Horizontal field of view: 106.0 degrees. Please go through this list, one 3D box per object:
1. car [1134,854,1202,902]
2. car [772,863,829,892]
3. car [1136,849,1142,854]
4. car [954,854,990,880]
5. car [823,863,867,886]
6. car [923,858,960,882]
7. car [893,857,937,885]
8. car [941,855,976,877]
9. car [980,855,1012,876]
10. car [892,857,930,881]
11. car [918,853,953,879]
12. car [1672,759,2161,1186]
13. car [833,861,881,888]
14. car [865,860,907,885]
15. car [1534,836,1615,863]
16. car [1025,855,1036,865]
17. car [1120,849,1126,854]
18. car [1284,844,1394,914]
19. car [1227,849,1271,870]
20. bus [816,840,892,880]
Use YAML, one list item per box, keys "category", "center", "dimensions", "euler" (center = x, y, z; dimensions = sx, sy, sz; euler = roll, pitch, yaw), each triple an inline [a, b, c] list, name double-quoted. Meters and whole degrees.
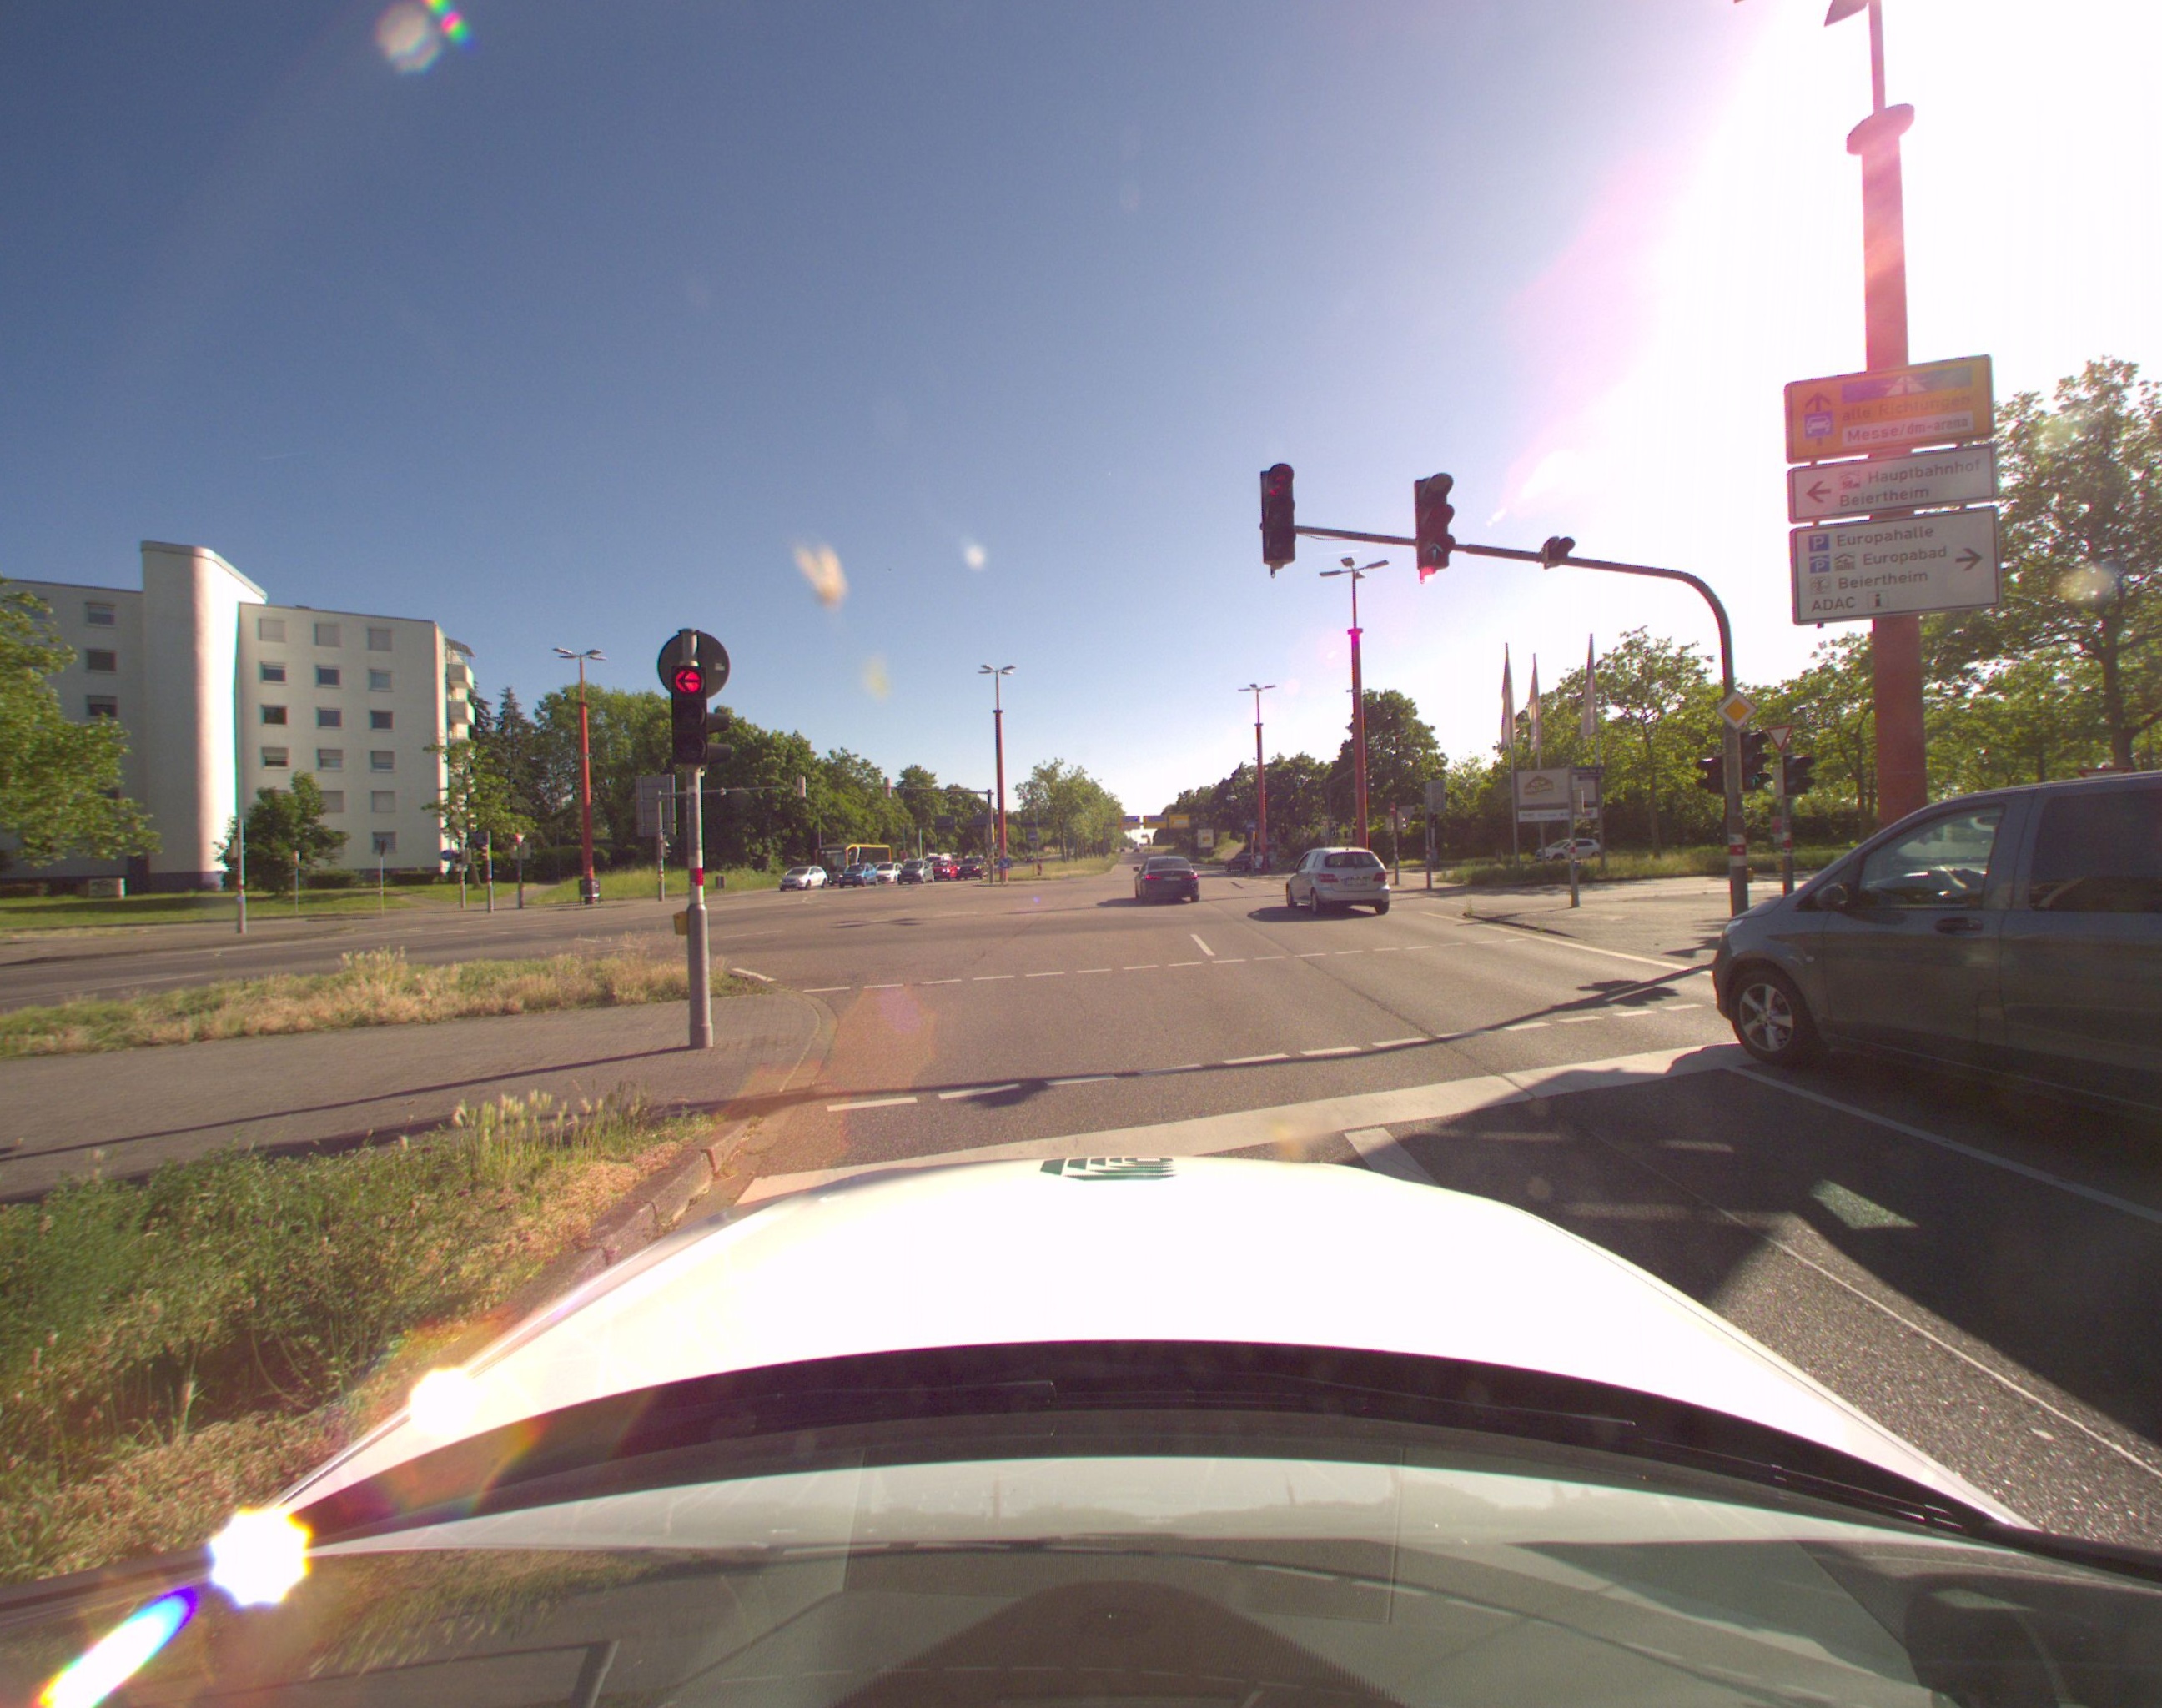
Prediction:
- category: "car"
  center: [2.770, 0.749, 26.686]
  dimensions: [1.758, 1.441, 4.294]
  euler: [0, 0, 0]
- category: "car"
  center: [-17.637, 1.424, 51.418]
  dimensions: [1.869, 1.652, 4.222]
  euler: [-3, -1, 3]
- category: "car"
  center: [18.142, -0.738, 254.959]
  dimensions: [1.986, 1.733, 4.001]
  euler: [0, -1, 2]
- category: "car"
  center: [-7.521, 0.857, 56.704]
  dimensions: [1.787, 1.626, 4.144]
  euler: [-3, 0, 1]
- category: "car"
  center: [-17.551, 1.503, 60.680]
  dimensions: [1.877, 1.513, 4.003]
  euler: [-3, 0, 3]
- category: "car"
  center: [-10.060, 1.124, 59.025]
  dimensions: [1.869, 1.552, 4.000]
  euler: [-5, 0, 0]
- category: "car"
  center: [-10.689, 1.079, 52.698]
  dimensions: [1.867, 1.550, 4.029]
  euler: [-3, 0, 2]
- category: "car"
  center: [-9.740, 0.933, 65.022]
  dimensions: [1.893, 1.630, 4.003]
  euler: [-1, 0, 3]
- category: "car"
  center: [-6.672, 0.862, 64.168]
  dimensions: [1.878, 1.543, 4.002]
  euler: [-3, 0, 2]
- category: "car"
  center: [-13.353, 1.143, 64.252]
  dimensions: [1.866, 1.784, 4.004]
  euler: [-2, 0, 3]
- category: "car"
  center: [-12.717, 0.999, 71.303]
  dimensions: [1.954, 2.155, 5.083]
  euler: [-2, 0, 1]
- category: "car"
  center: [5.599, 0.486, 4.068]
  dimensions: [1.796, 1.852, 5.108]
  euler: [-2, 0, 4]
- category: "car"
  center: [-14.130, 1.286, 51.617]
  dimensions: [1.794, 1.515, 3.861]
  euler: [-3, 0, 2]
- category: "car"
  center: [-13.767, 1.287, 57.764]
  dimensions: [1.895, 1.555, 4.000]
  euler: [-3, 0, 0]
- category: "car"
  center: [32.540, -0.273, 53.727]
  dimensions: [4.272, 1.635, 1.769]
  euler: [-2, 0, -2]
- category: "car"
  center: [-10.399, 1.147, 168.655]
  dimensions: [1.913, 1.999, 4.605]
  euler: [-2, 0, 1]
- category: "car"
  center: [13.651, -0.778, 263.359]
  dimensions: [1.986, 1.733, 4.001]
  euler: [0, -1, 2]
- category: "car"
  center: [6.464, 0.593, 20.837]
  dimensions: [1.709, 1.608, 3.849]
  euler: [0, -1, 2]
- category: "car"
  center: [13.596, 0.429, 66.015]
  dimensions: [1.767, 1.635, 4.276]
  euler: [0, -1, -15]
- category: "bus"
  center: [-19.968, 0.547, 72.726]
  dimensions: [2.634, 3.261, 12.546]
  euler: [0, 0, 3]
